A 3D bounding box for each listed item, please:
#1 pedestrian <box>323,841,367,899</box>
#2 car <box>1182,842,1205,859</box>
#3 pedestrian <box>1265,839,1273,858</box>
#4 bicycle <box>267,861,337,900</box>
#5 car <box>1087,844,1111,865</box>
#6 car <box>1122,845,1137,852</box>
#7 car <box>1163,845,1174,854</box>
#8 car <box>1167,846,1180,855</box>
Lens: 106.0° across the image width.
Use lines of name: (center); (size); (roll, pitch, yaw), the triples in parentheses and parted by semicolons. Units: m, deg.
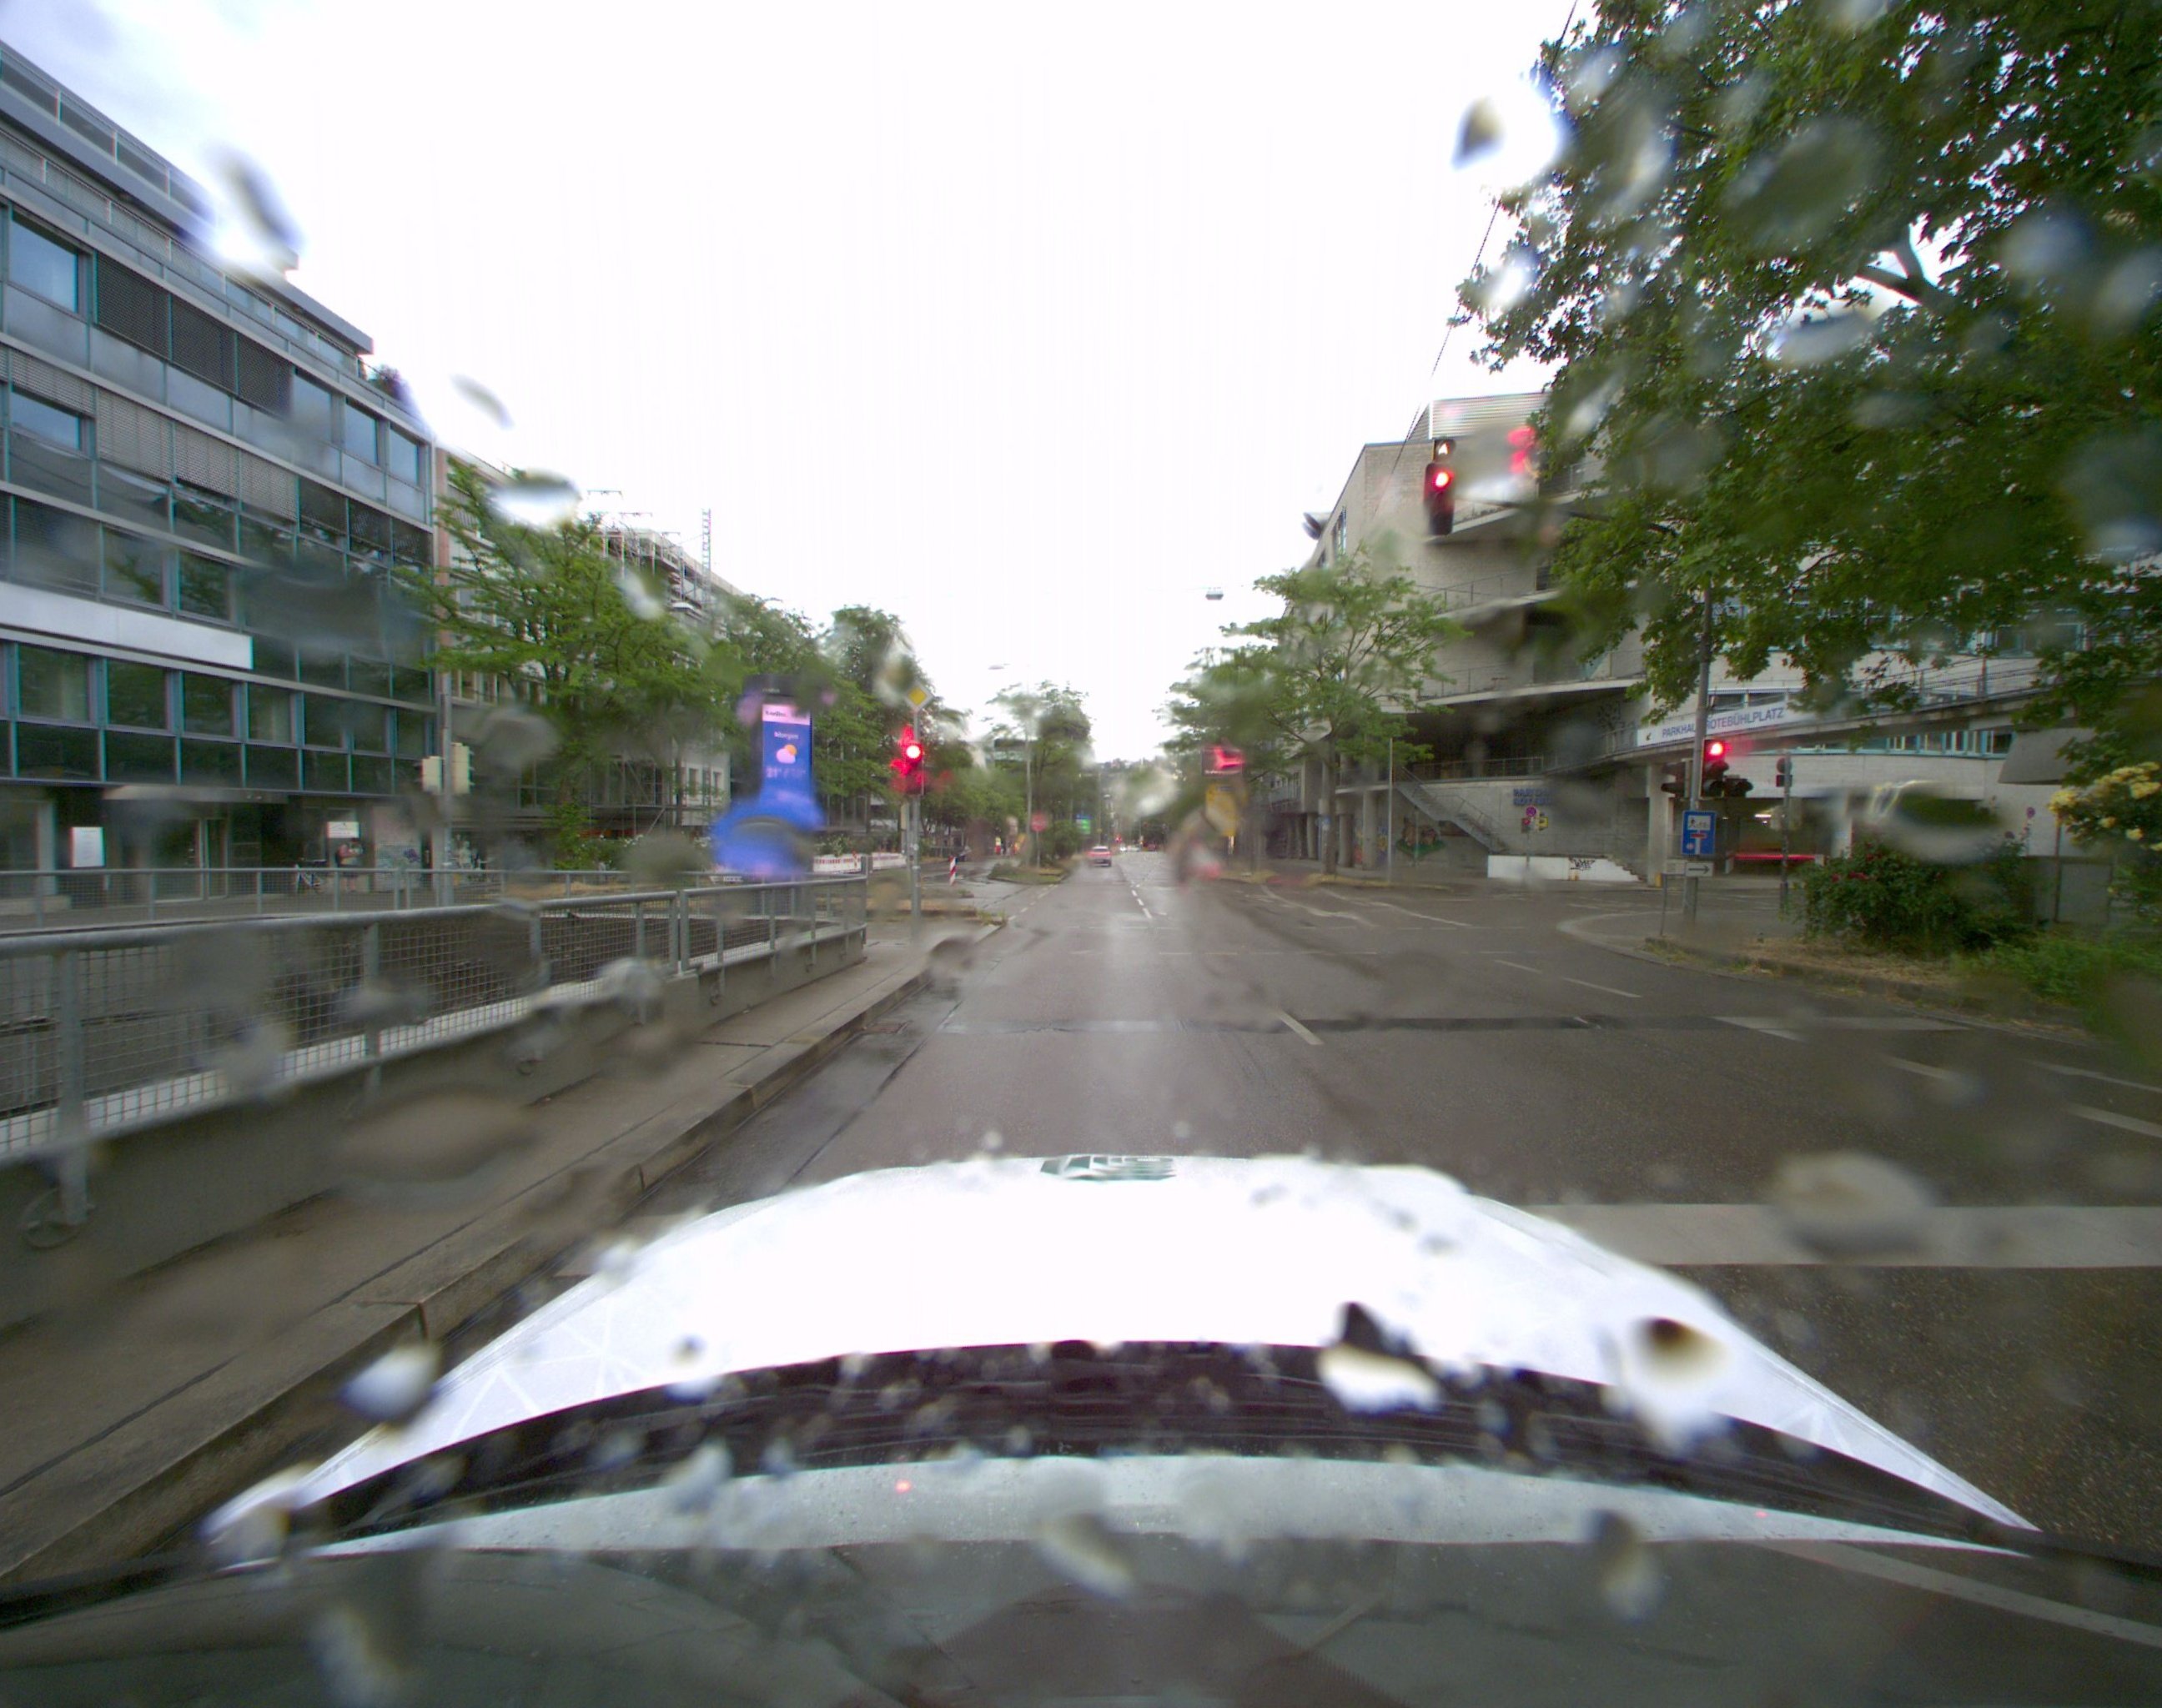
pedestrian: (-22.808, 0.485, 25.234); (0.694, 1.741, 0.694); (1, 0, -4)
car: (11.541, -0.357, 83.337); (2.324, 1.691, 4.010); (0, 0, 9)
pedestrian: (18.419, -0.535, 79.848); (0.770, 1.920, 0.705); (-1, -1, 11)
bicycle: (-22.953, 0.762, 24.034); (0.444, 1.085, 1.567); (0, 0, 6)
car: (1.443, 0.015, 66.626); (1.823, 1.640, 4.298); (1, 0, -1)
car: (11.585, -1.275, 194.102); (1.974, 1.758, 4.025); (1, 0, 32)
car: (17.873, -0.834, 166.636); (1.986, 1.736, 4.001); (0, -1, 2)
car: (17.642, -0.655, 155.384); (1.986, 1.723, 4.001); (0, -1, 1)
